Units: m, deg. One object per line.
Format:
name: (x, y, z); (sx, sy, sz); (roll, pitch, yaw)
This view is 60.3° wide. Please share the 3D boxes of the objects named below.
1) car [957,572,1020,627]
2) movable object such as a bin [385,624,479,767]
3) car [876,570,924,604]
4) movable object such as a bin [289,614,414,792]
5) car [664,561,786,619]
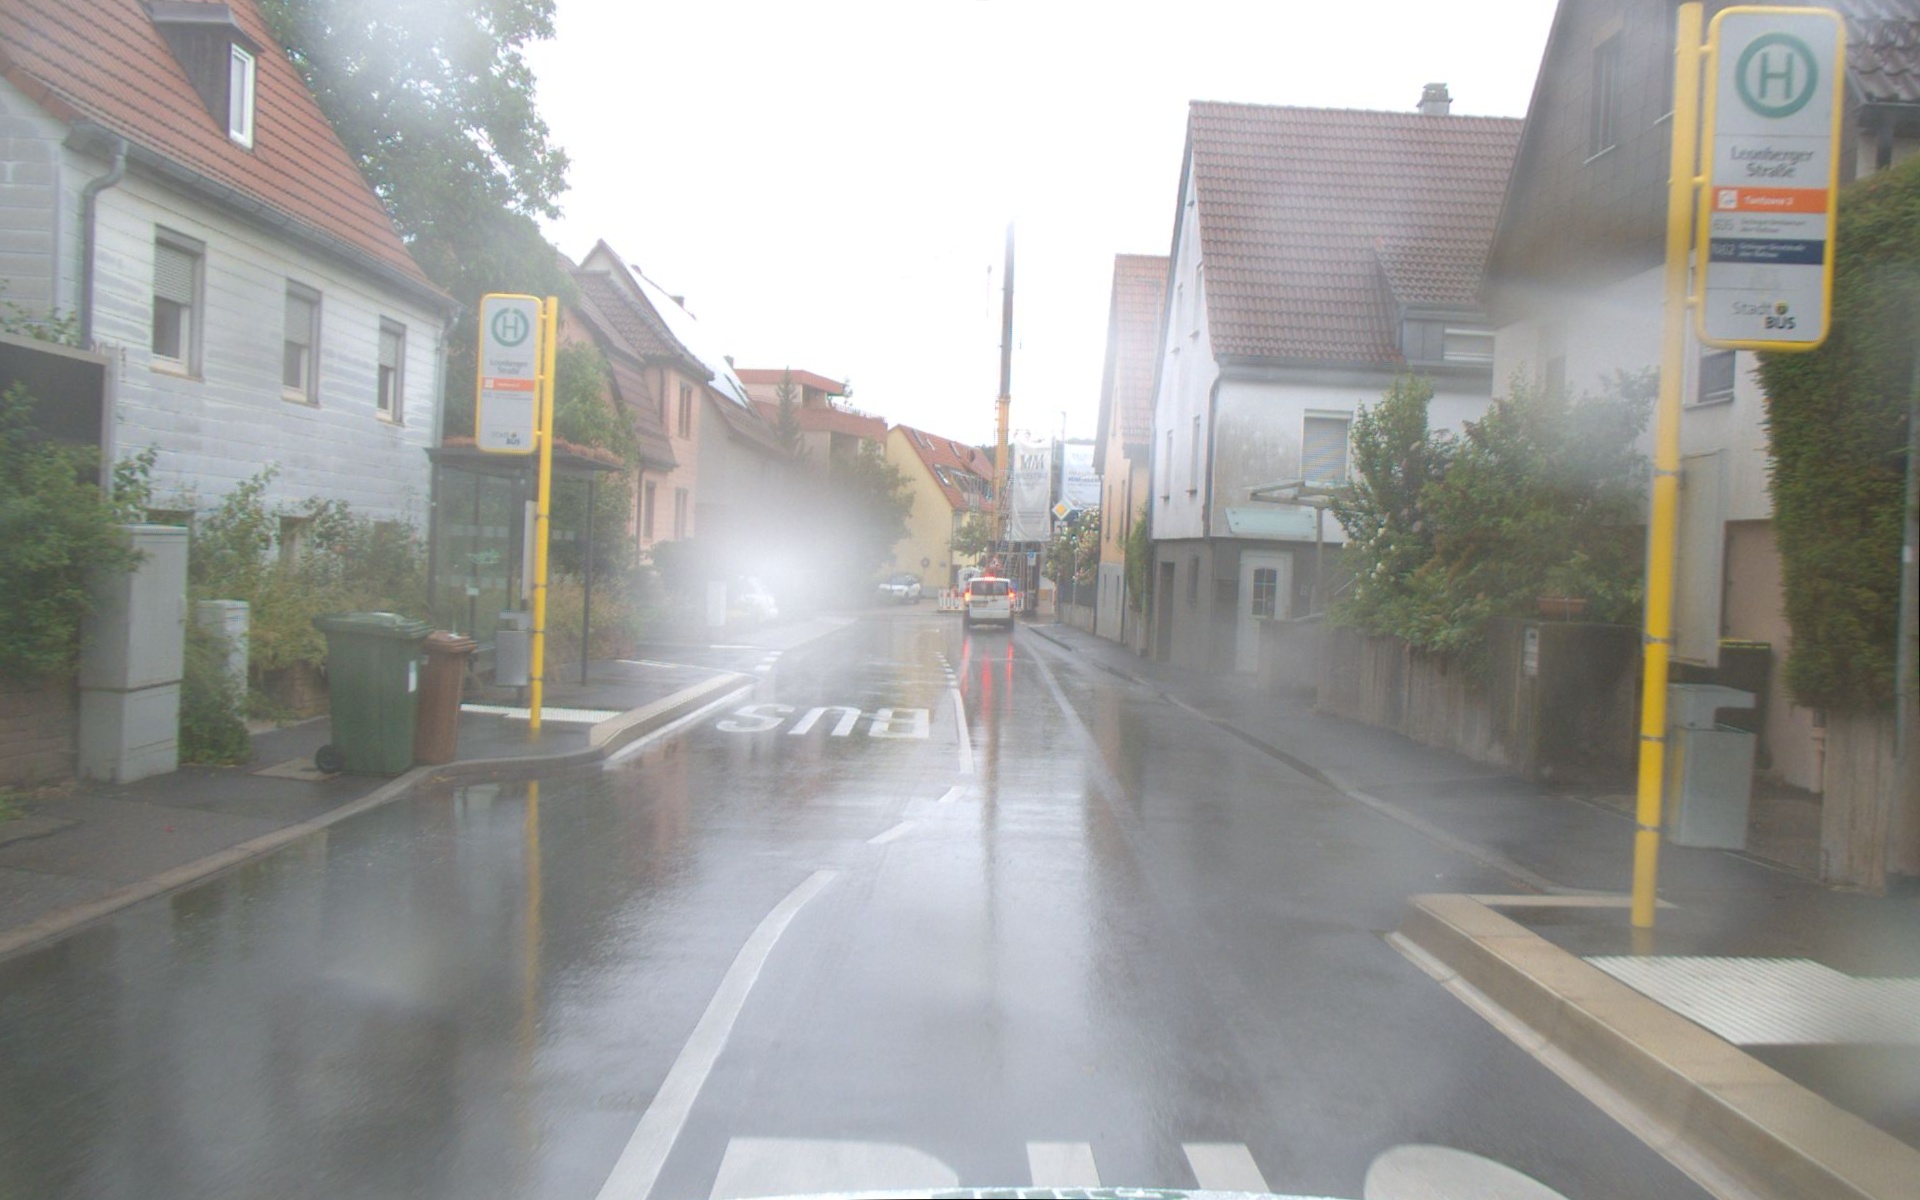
car: (1.001, -0.023, 60.398); (2.137, 1.902, 4.000); (2, 0, -1)
movable object such as a bin: (-3.853, 0.690, 12.094); (0.459, 0.954, 0.455); (5, 3, 2)
car: (-3.335, -0.746, 92.772); (1.566, 1.706, 3.942); (3, 2, 15)
movable object such as a bin: (-4.066, 0.676, 11.080); (0.541, 1.101, 0.528); (5, 1, 2)
car: (-7.349, -0.326, 51.995); (3.472, 1.555, 1.663); (4, 1, 1)
